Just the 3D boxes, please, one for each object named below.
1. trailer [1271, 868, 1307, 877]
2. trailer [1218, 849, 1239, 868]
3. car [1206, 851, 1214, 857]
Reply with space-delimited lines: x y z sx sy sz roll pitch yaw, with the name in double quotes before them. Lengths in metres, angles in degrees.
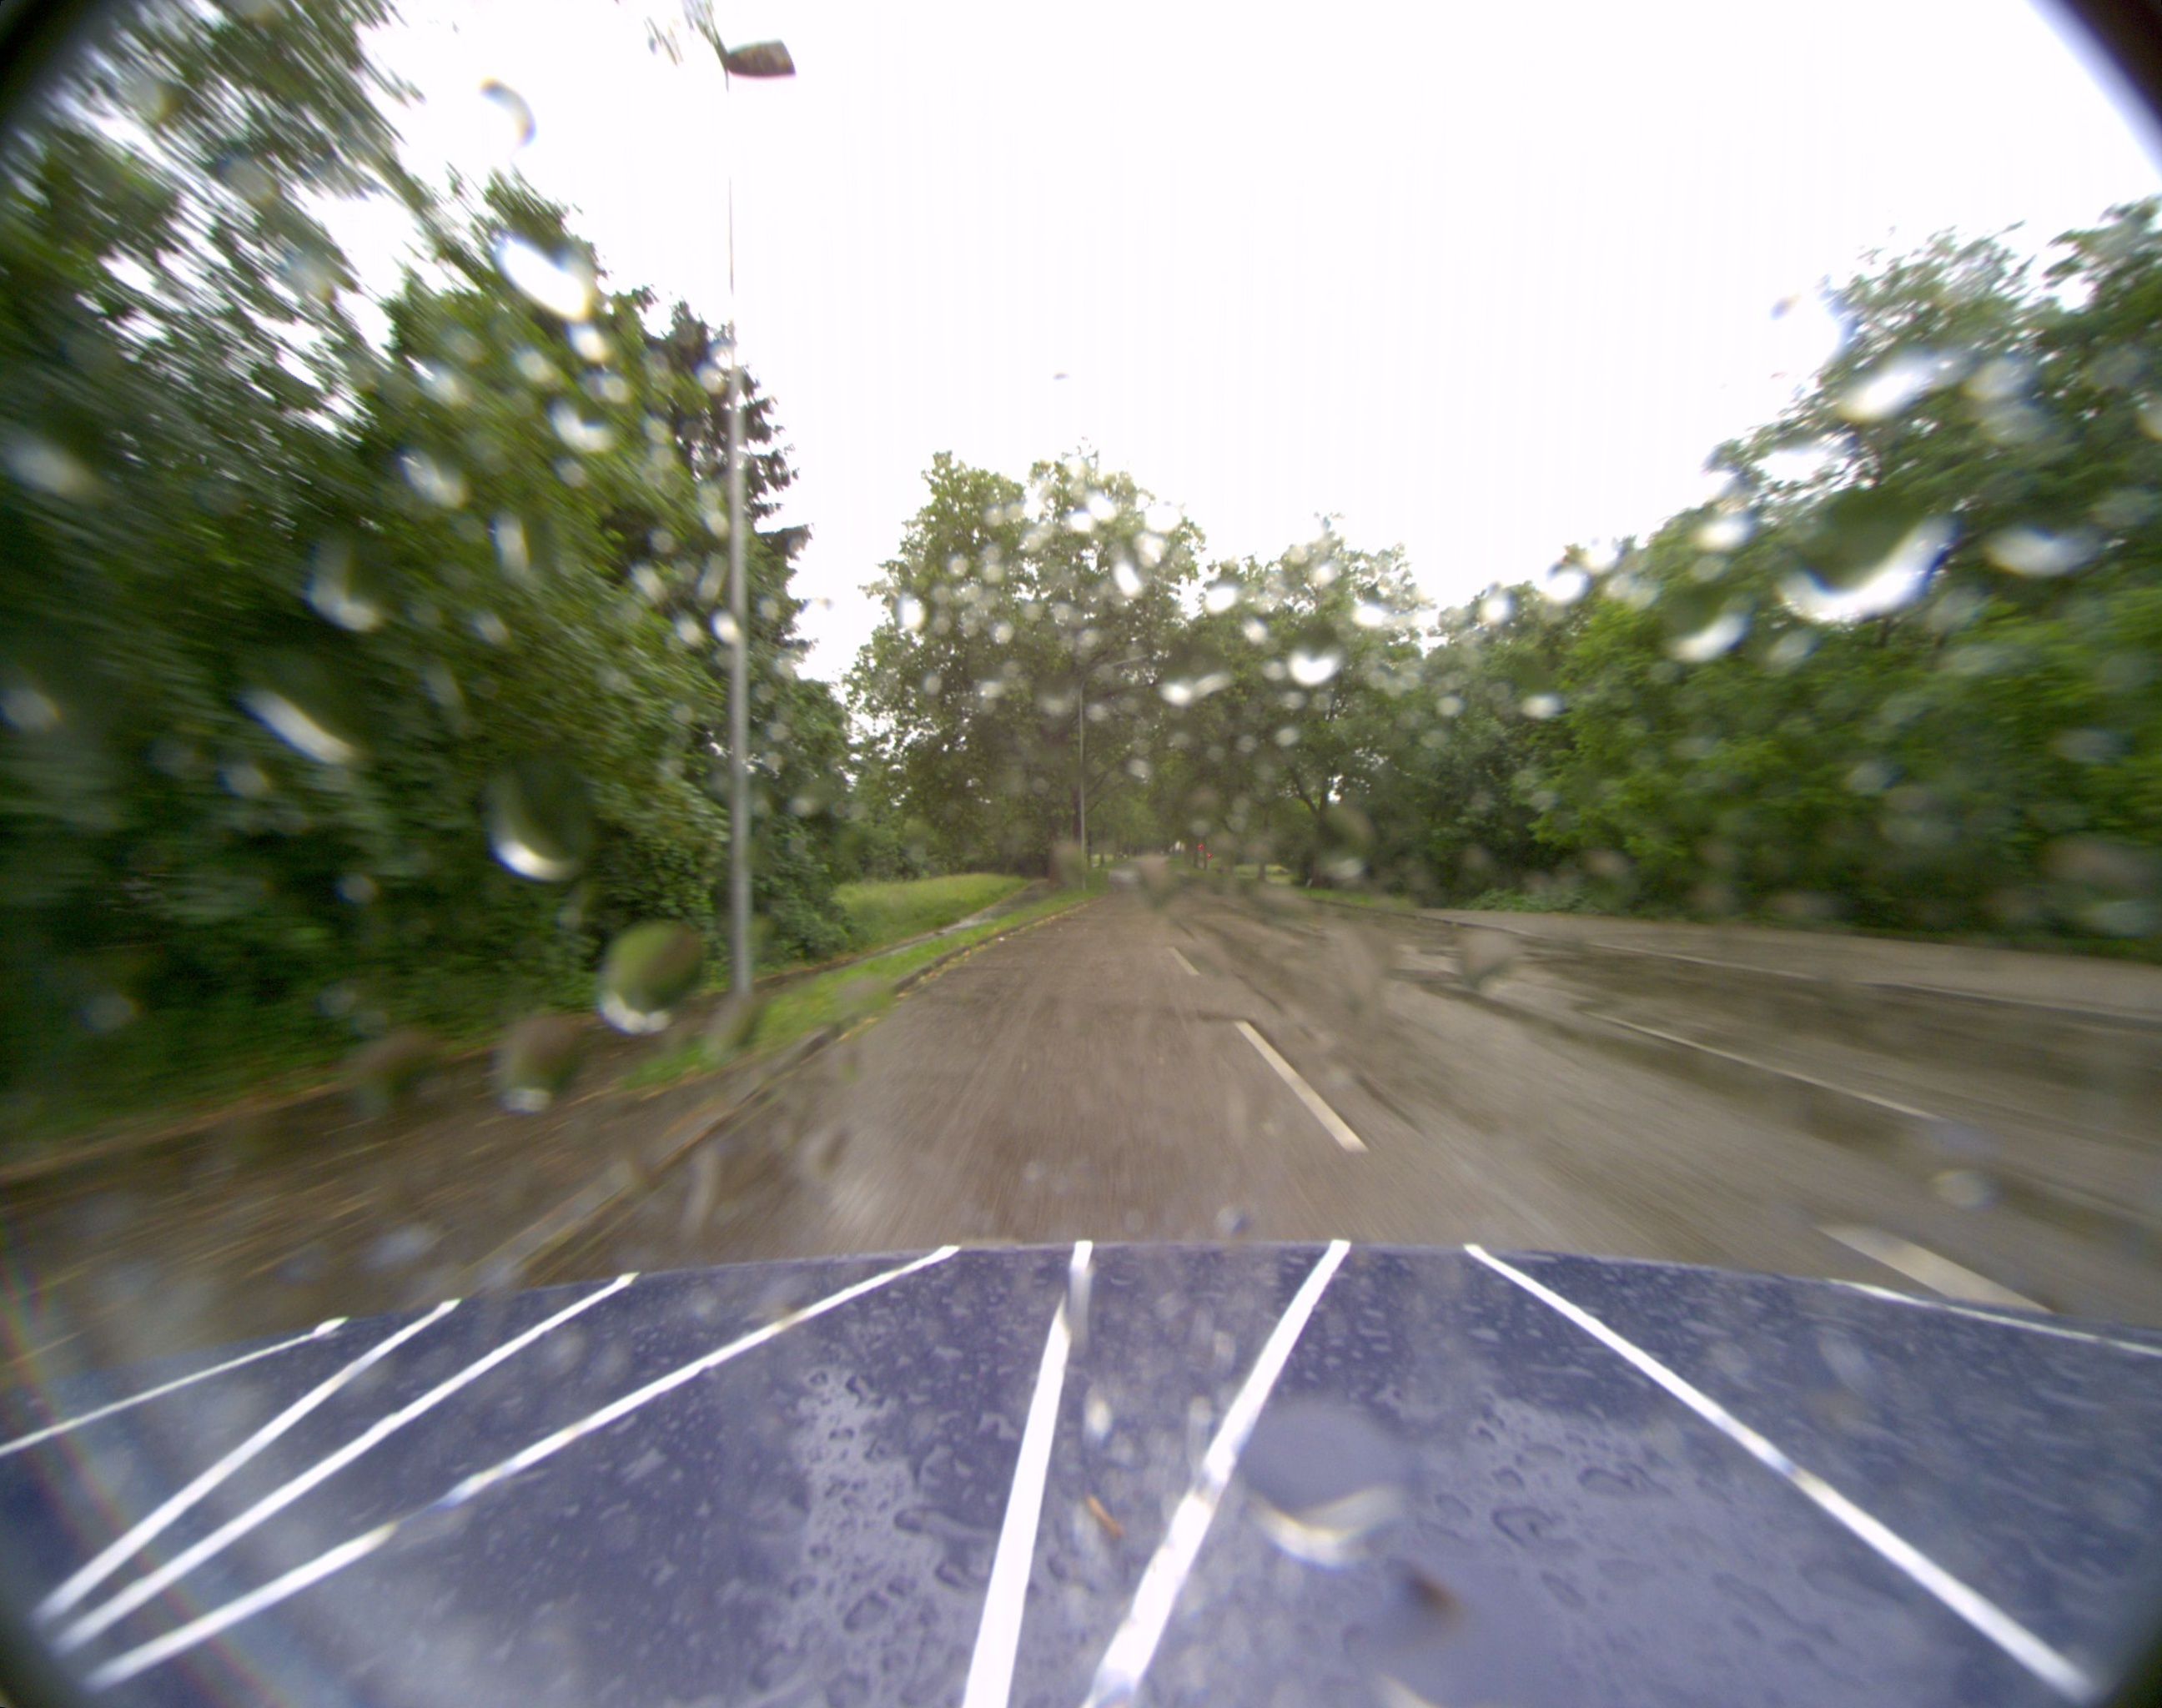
"trailer" 28.098 2.476 102.871 4.326 1.026 2.382 1 1 3
"trailer" 23.548 0.680 121.466 2.803 2.649 6.654 1 1 6
"car" 43.110 -0.034 254.450 1.896 1.673 4.005 2 2 19
